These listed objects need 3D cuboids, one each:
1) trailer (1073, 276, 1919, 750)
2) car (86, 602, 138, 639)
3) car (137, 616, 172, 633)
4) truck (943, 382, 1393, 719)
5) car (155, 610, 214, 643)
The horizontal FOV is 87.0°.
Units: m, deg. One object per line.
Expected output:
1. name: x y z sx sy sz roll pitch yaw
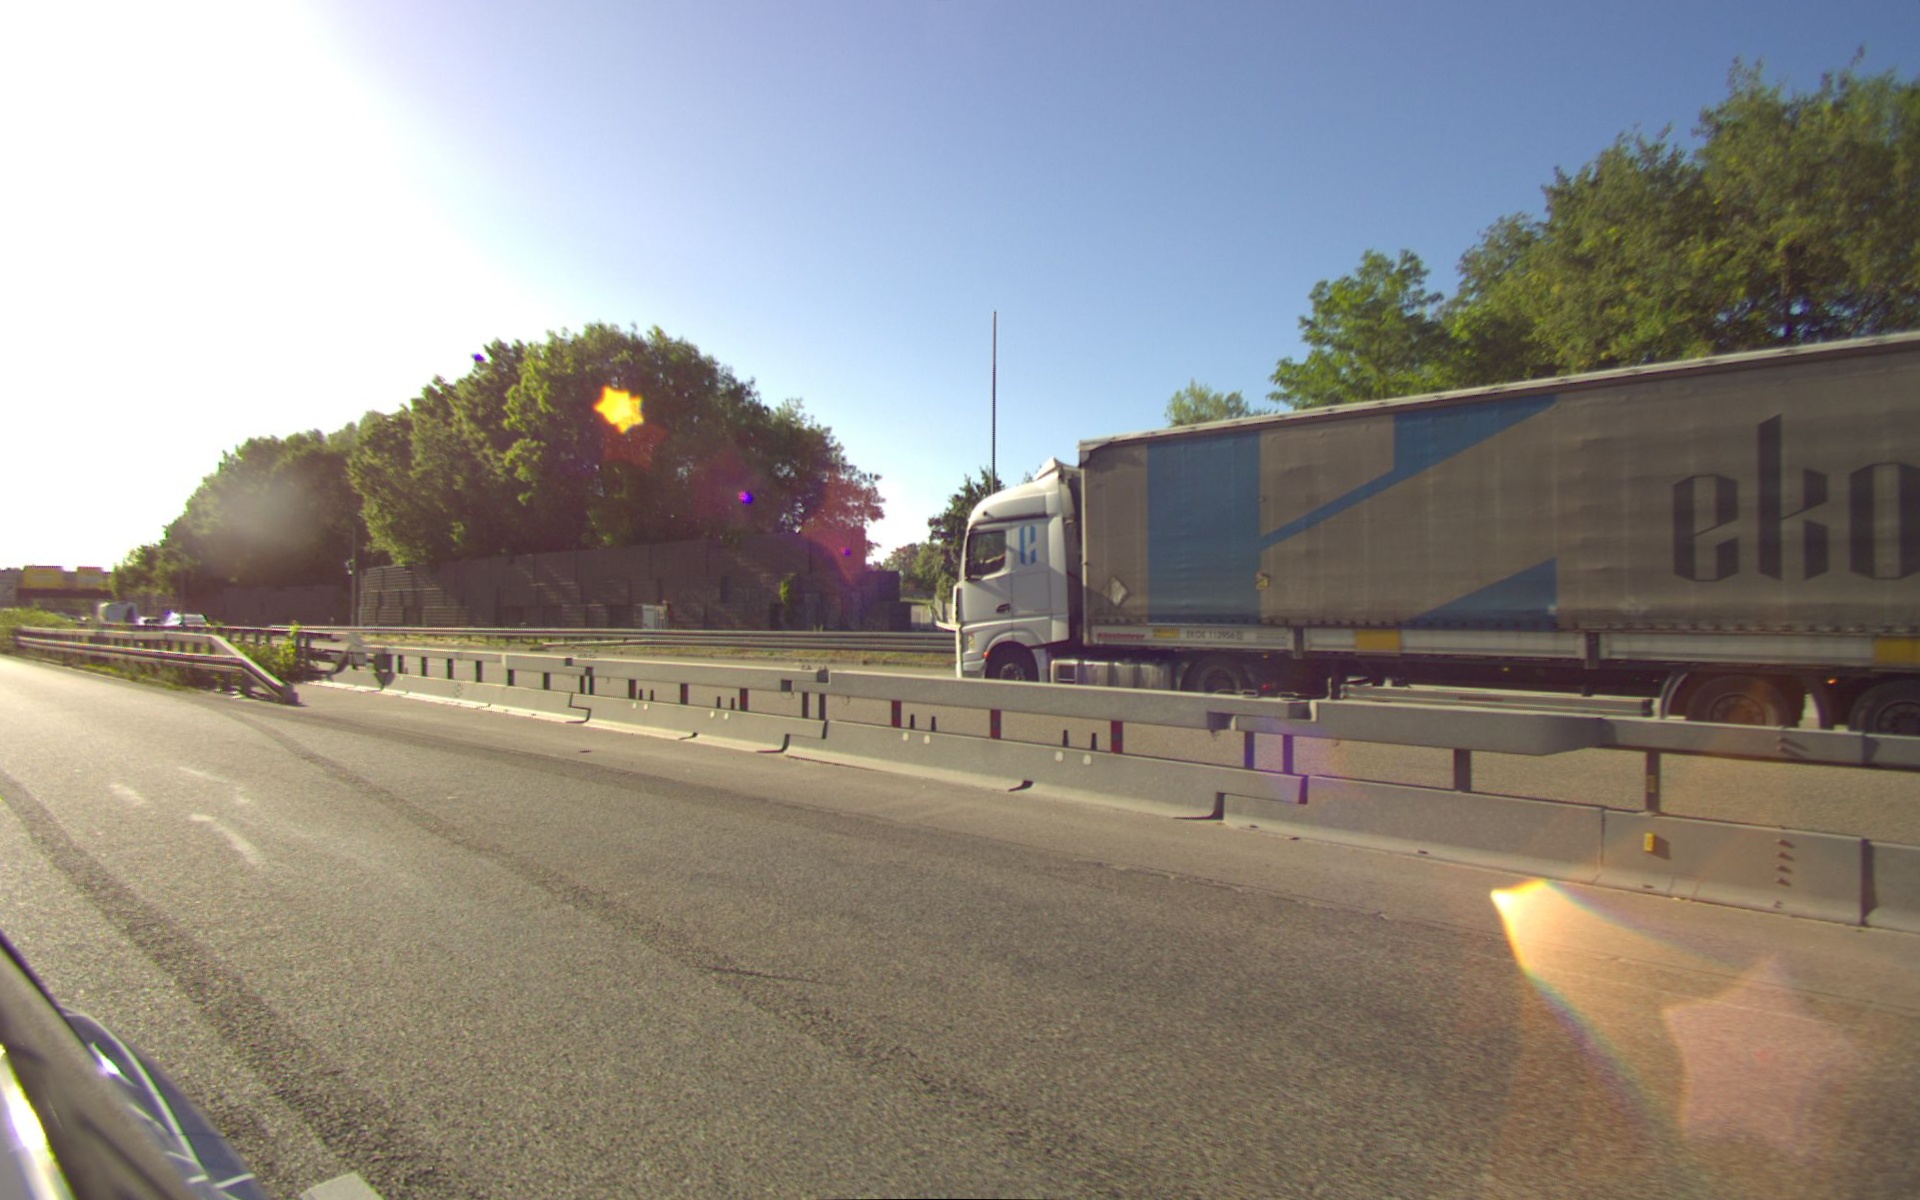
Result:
1. trailer: 7.948 -0.746 11.711 14.077 4.312 2.719 -2 -1 41
2. car: -64.383 1.556 76.812 6.049 2.631 2.125 -2 -1 42
3. car: -72.220 2.209 90.707 4.098 1.344 1.974 -2 -1 44
4. truck: 3.049 -0.563 16.045 6.384 4.294 2.707 -2 -1 41
5. car: -45.493 1.565 59.304 4.785 1.796 1.972 -2 -1 43
